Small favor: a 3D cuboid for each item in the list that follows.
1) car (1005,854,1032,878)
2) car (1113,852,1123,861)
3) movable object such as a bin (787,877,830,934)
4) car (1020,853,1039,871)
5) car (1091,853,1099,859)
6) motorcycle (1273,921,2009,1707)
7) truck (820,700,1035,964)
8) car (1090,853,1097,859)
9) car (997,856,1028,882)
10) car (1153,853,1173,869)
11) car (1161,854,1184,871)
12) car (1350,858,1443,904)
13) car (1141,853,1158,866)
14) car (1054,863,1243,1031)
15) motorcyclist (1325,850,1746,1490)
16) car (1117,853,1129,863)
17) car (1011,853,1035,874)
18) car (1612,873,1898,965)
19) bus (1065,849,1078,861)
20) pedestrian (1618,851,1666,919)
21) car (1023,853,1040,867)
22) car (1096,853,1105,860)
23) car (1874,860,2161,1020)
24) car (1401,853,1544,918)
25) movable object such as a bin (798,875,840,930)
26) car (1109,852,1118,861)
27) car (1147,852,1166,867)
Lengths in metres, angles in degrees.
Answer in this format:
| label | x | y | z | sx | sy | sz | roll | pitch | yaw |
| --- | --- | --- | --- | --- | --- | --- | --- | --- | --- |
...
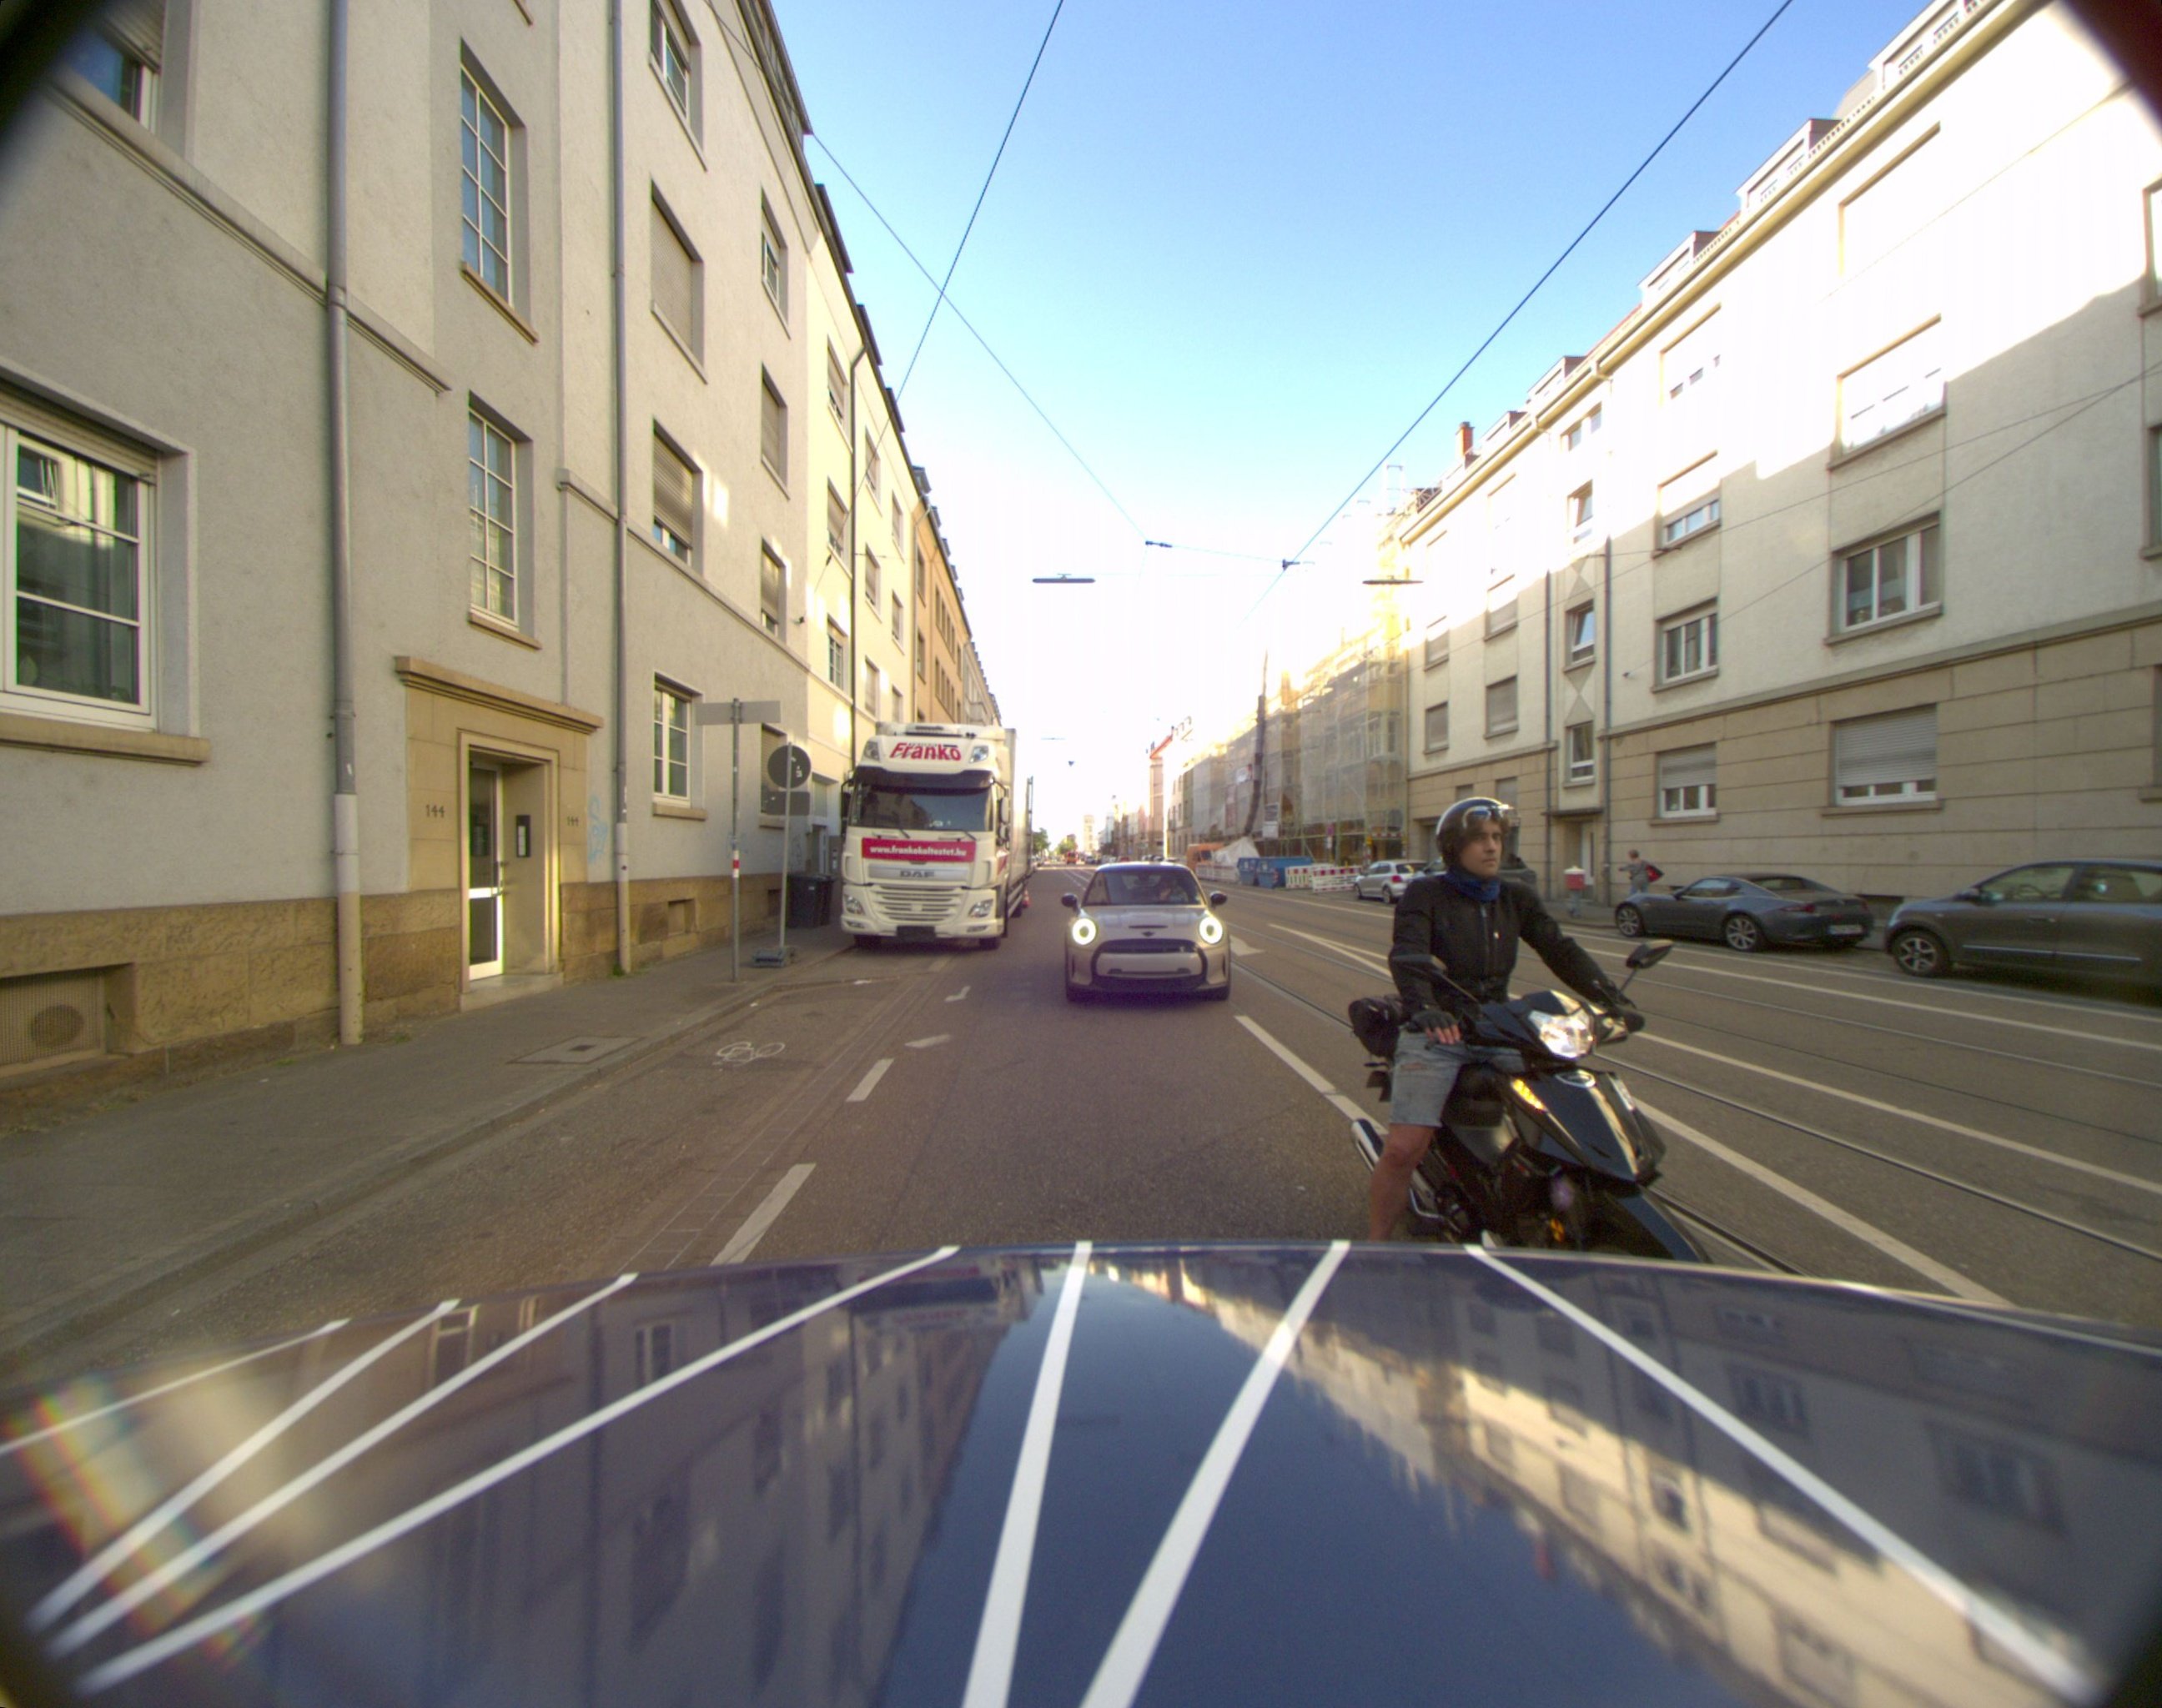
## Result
| label | x | y | z | sx | sy | sz | roll | pitch | yaw |
| --- | --- | --- | --- | --- | --- | --- | --- | --- | --- |
| car | -4.311 | 0.819 | 52.994 | 1.685 | 1.522 | 4.148 | -2 | 0 | -3 |
| car | 6.516 | 0.448 | 134.406 | 1.684 | 1.478 | 3.966 | -2 | 0 | 1 |
| movable object such as a bin | -5.389 | 1.001 | 15.044 | 0.666 | 1.087 | 0.570 | 0 | 1 | -2 |
| car | -4.866 | 0.737 | 72.102 | 1.685 | 1.522 | 4.148 | -2 | 0 | -3 |
| car | 3.517 | 0.586 | 191.751 | 1.684 | 1.478 | 3.965 | -2 | 0 | -1 |
| motorcycle | 1.305 | 0.969 | 2.525 | 0.791 | 1.284 | 2.273 | 0 | 0 | 1 |
| truck | -2.632 | -0.327 | 17.185 | 2.782 | 3.903 | 11.816 | 0 | 0 | -2 |
| car | 3.290 | 0.565 | 206.894 | 1.684 | 1.478 | 3.965 | -2 | 0 | -1 |
| car | -4.184 | 0.888 | 47.192 | 1.685 | 1.522 | 4.148 | -2 | 0 | -3 |
| car | 8.256 | 0.694 | 76.815 | 1.684 | 1.478 | 3.966 | -2 | 0 | 1 |
| car | 8.562 | 0.749 | 71.118 | 1.684 | 1.478 | 3.966 | -2 | 0 | 1 |
| car | 10.603 | 0.875 | 25.785 | 1.543 | 1.404 | 3.510 | -1 | 0 | -3 |
| car | 7.922 | 0.641 | 87.885 | 1.684 | 1.478 | 3.966 | -2 | 0 | 1 |
| car | 0.563 | 0.889 | 9.142 | 1.685 | 1.454 | 4.148 | -2 | 0 | -3 |
| motorcyclist | 1.304 | 0.812 | 2.395 | 0.791 | 1.645 | 0.900 | 0 | 1 | 1 |
| car | 6.585 | 0.608 | 118.640 | 1.684 | 1.478 | 3.966 | -2 | 0 | 1 |
| car | -4.520 | 0.736 | 59.162 | 1.685 | 1.522 | 4.148 | -2 | 0 | -3 |
| car | 11.175 | 0.995 | 12.987 | 1.520 | 1.227 | 3.685 | -1 | 0 | -3 |
| bus | -2.646 | 0.292 | 213.899 | 2.755 | 3.095 | 19.156 | 0 | 0 | -3 |
| pedestrian | 13.044 | 0.710 | 17.681 | 0.570 | 1.532 | 0.693 | 0 | 1 | -2 |
| car | -5.361 | 0.637 | 82.748 | 1.685 | 1.522 | 4.148 | -2 | 0 | -3 |
| car | 4.241 | 0.597 | 167.817 | 1.684 | 1.478 | 3.965 | -2 | 0 | -1 |
| car | 11.412 | 0.855 | 8.325 | 1.679 | 1.519 | 3.539 | -1 | 0 | -3 |
| car | 10.805 | 0.799 | 21.336 | 1.696 | 1.590 | 4.206 | -1 | 0 | -3 |
| movable object such as a bin | -5.405 | 0.993 | 15.713 | 0.666 | 1.087 | 0.570 | 0 | 1 | -2 |
| car | 5.942 | 0.427 | 139.349 | 1.684 | 1.478 | 3.966 | -2 | 0 | 1 |
| car | 8.234 | 0.604 | 83.188 | 1.684 | 1.573 | 3.966 | -2 | 0 | 1 |
